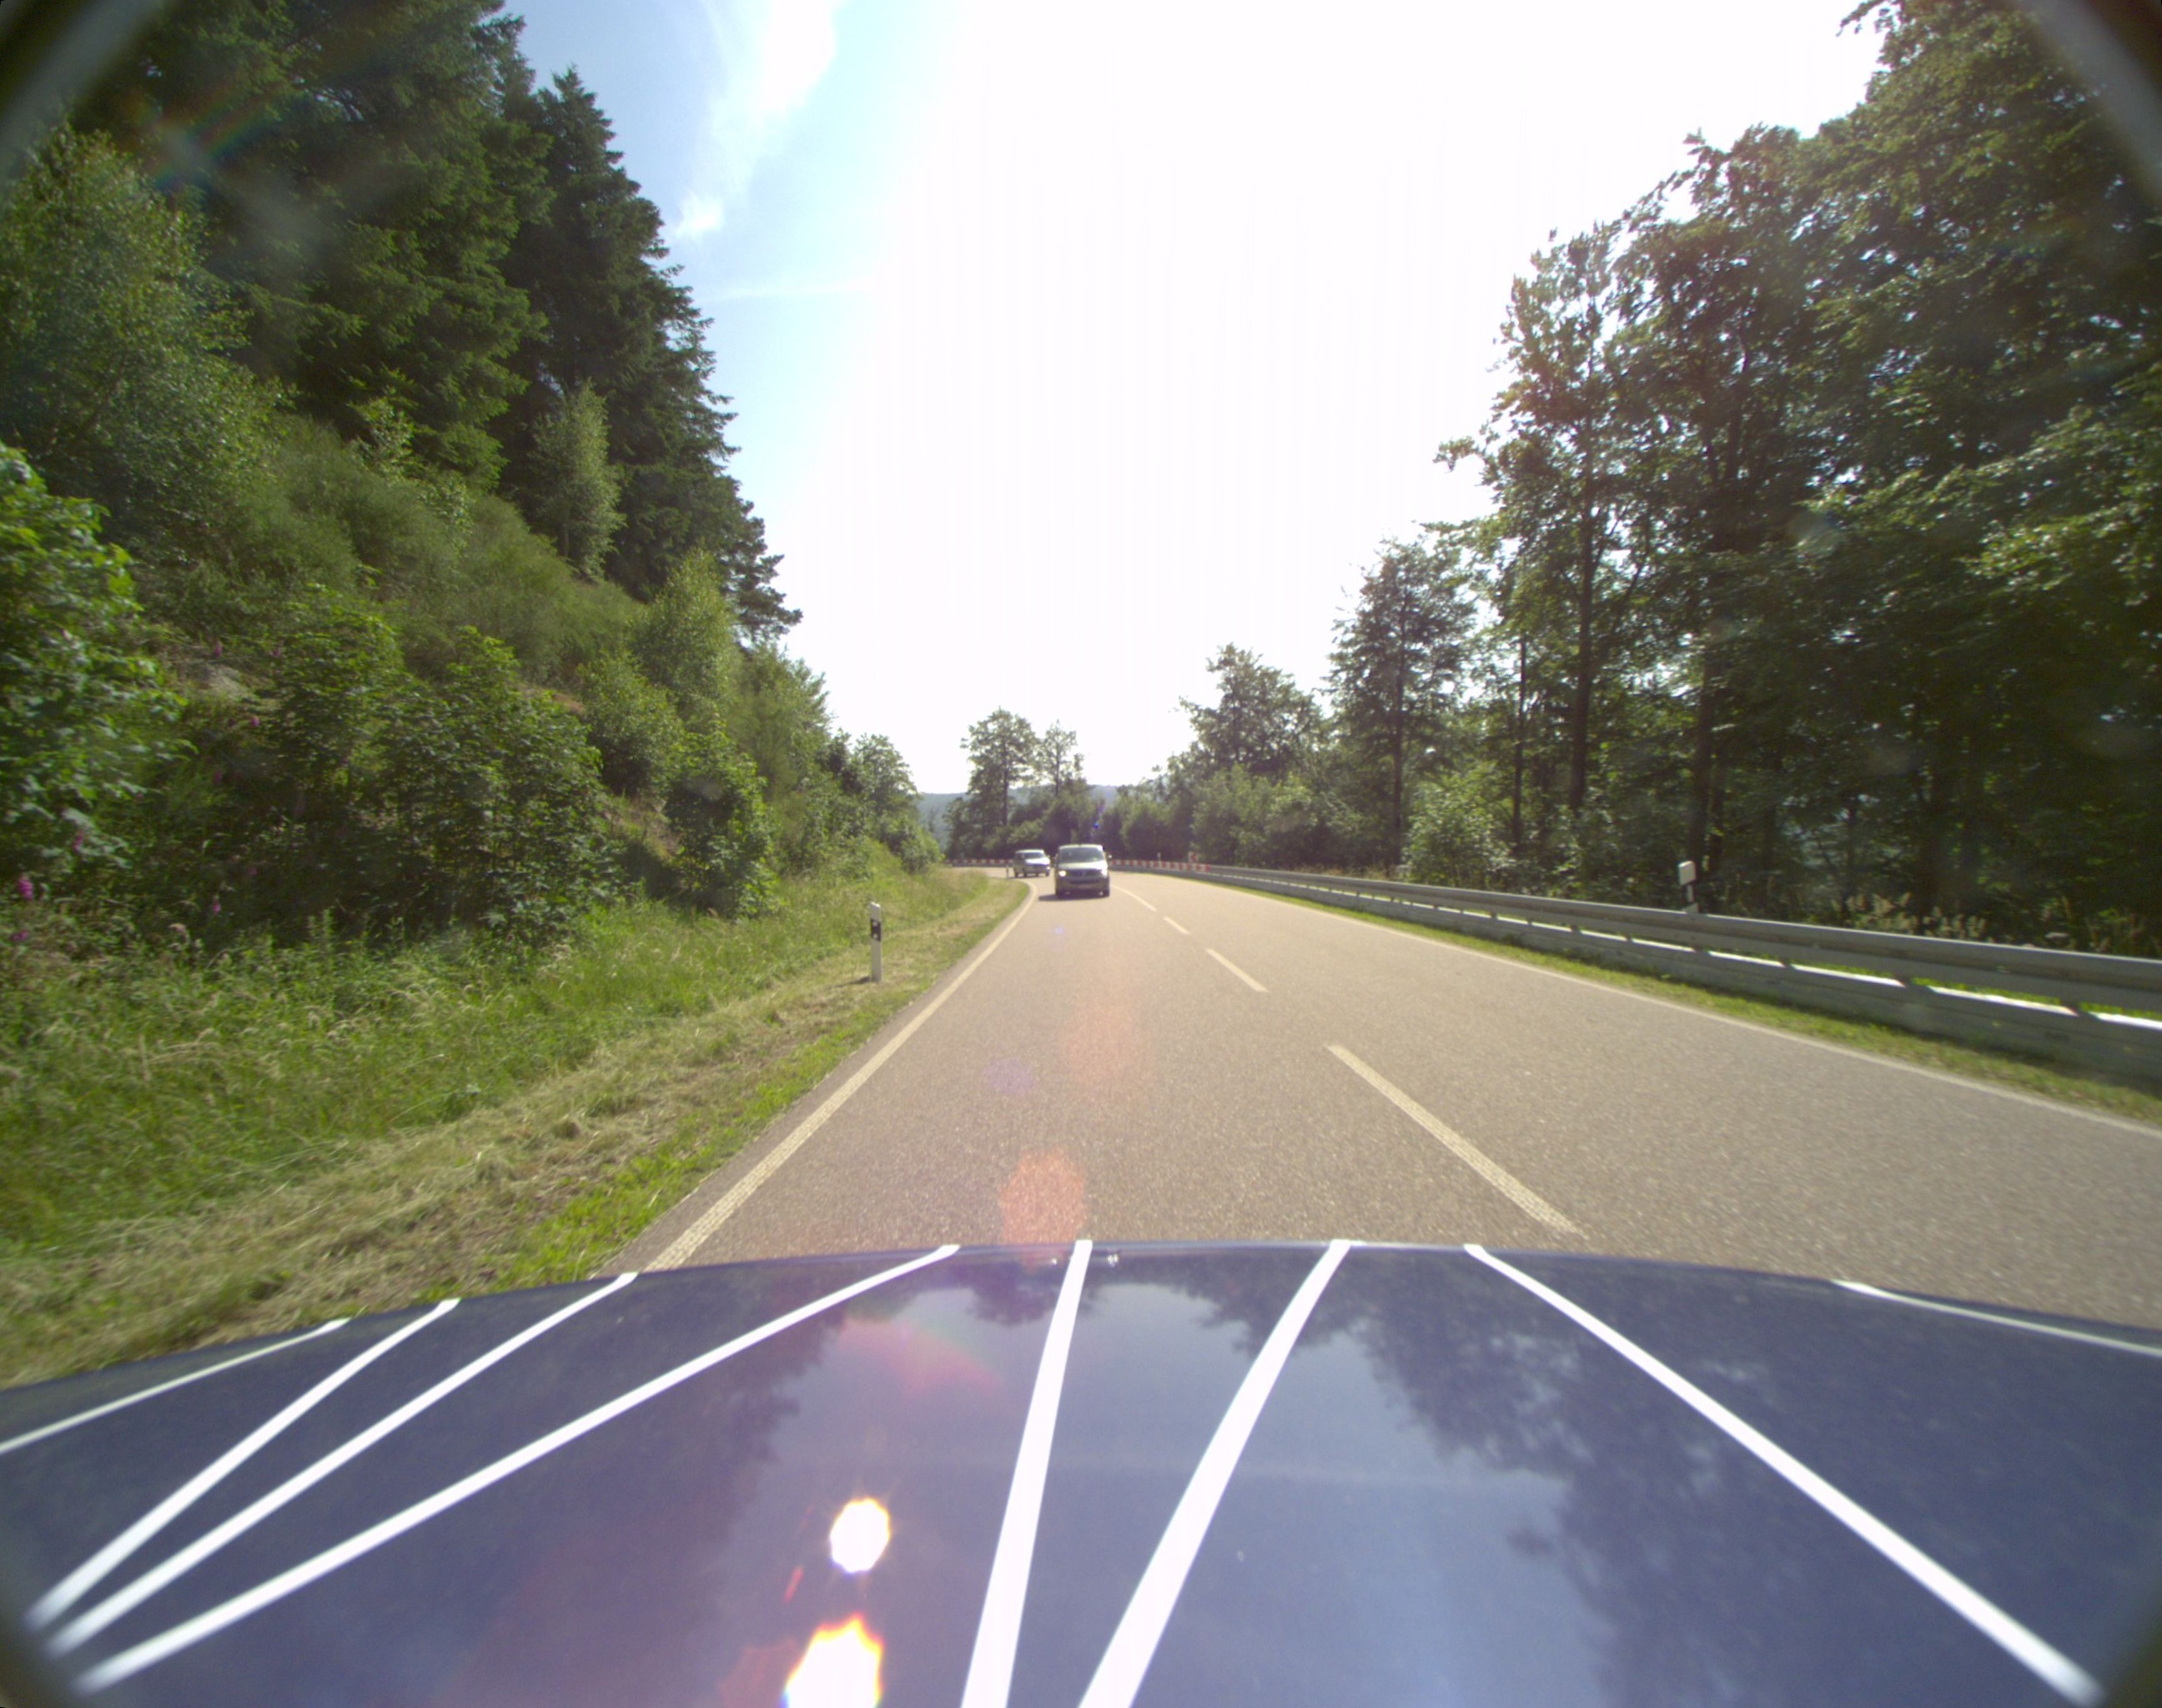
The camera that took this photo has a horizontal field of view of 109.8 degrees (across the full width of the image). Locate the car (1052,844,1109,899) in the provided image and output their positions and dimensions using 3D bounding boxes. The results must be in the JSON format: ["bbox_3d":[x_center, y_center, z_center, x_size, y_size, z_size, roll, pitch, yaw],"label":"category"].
[{"bbox_3d":[-0.092,0.608,29.882,1.991,1.899,4.759,-3,0,-2],"label":"car"}]

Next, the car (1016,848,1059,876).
[{"bbox_3d":[-3.210,0.548,55.364,2.140,1.825,4.716,-2,1,-15],"label":"car"}]
